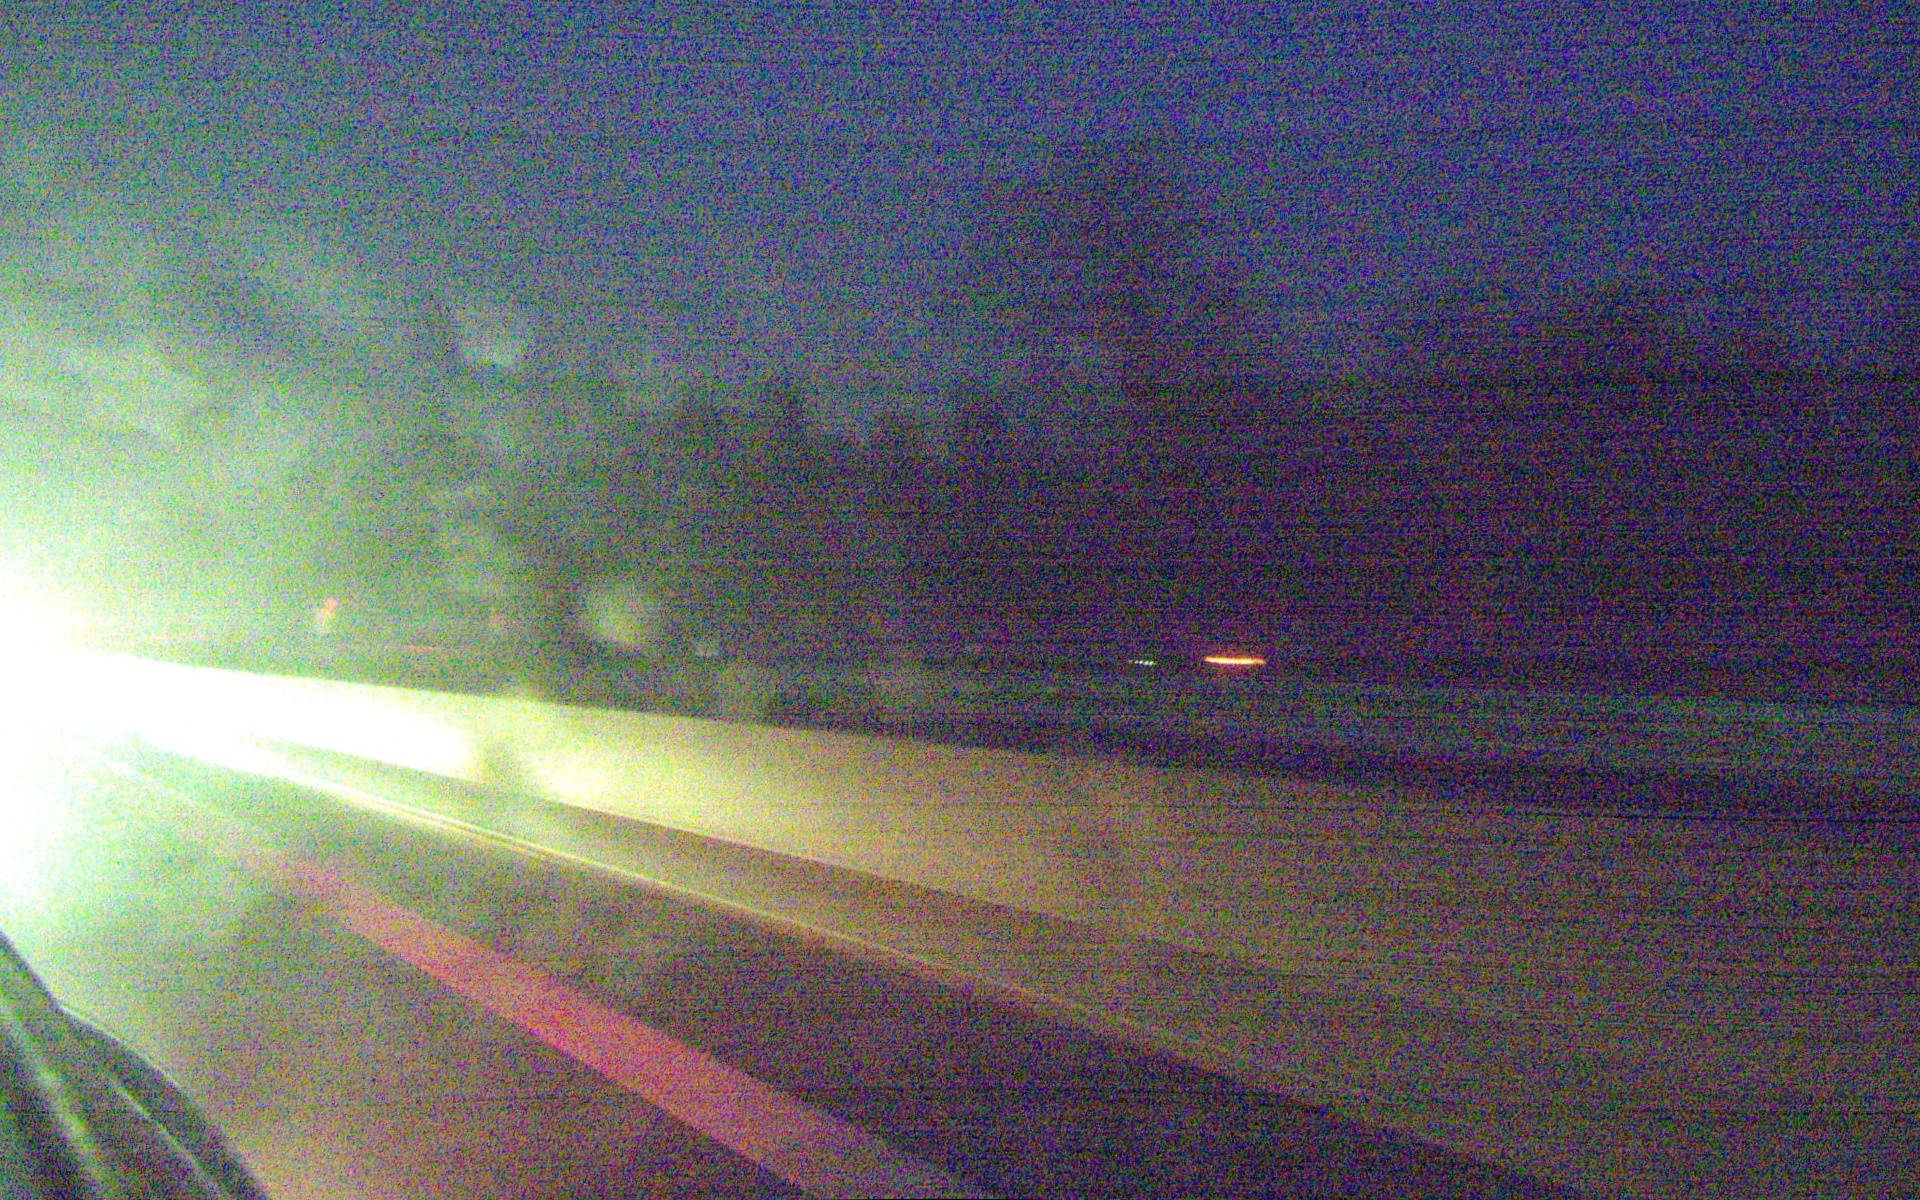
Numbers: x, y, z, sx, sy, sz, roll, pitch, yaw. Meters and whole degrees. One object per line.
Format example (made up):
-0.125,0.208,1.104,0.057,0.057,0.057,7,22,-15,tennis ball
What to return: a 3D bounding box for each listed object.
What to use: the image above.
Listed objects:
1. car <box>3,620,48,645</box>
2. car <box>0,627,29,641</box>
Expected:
-60.896,2.084,65.933,4.293,1.575,1.692,-1,-1,41,car
-111.037,4.011,118.830,4.963,1.512,1.973,-1,0,42,car
